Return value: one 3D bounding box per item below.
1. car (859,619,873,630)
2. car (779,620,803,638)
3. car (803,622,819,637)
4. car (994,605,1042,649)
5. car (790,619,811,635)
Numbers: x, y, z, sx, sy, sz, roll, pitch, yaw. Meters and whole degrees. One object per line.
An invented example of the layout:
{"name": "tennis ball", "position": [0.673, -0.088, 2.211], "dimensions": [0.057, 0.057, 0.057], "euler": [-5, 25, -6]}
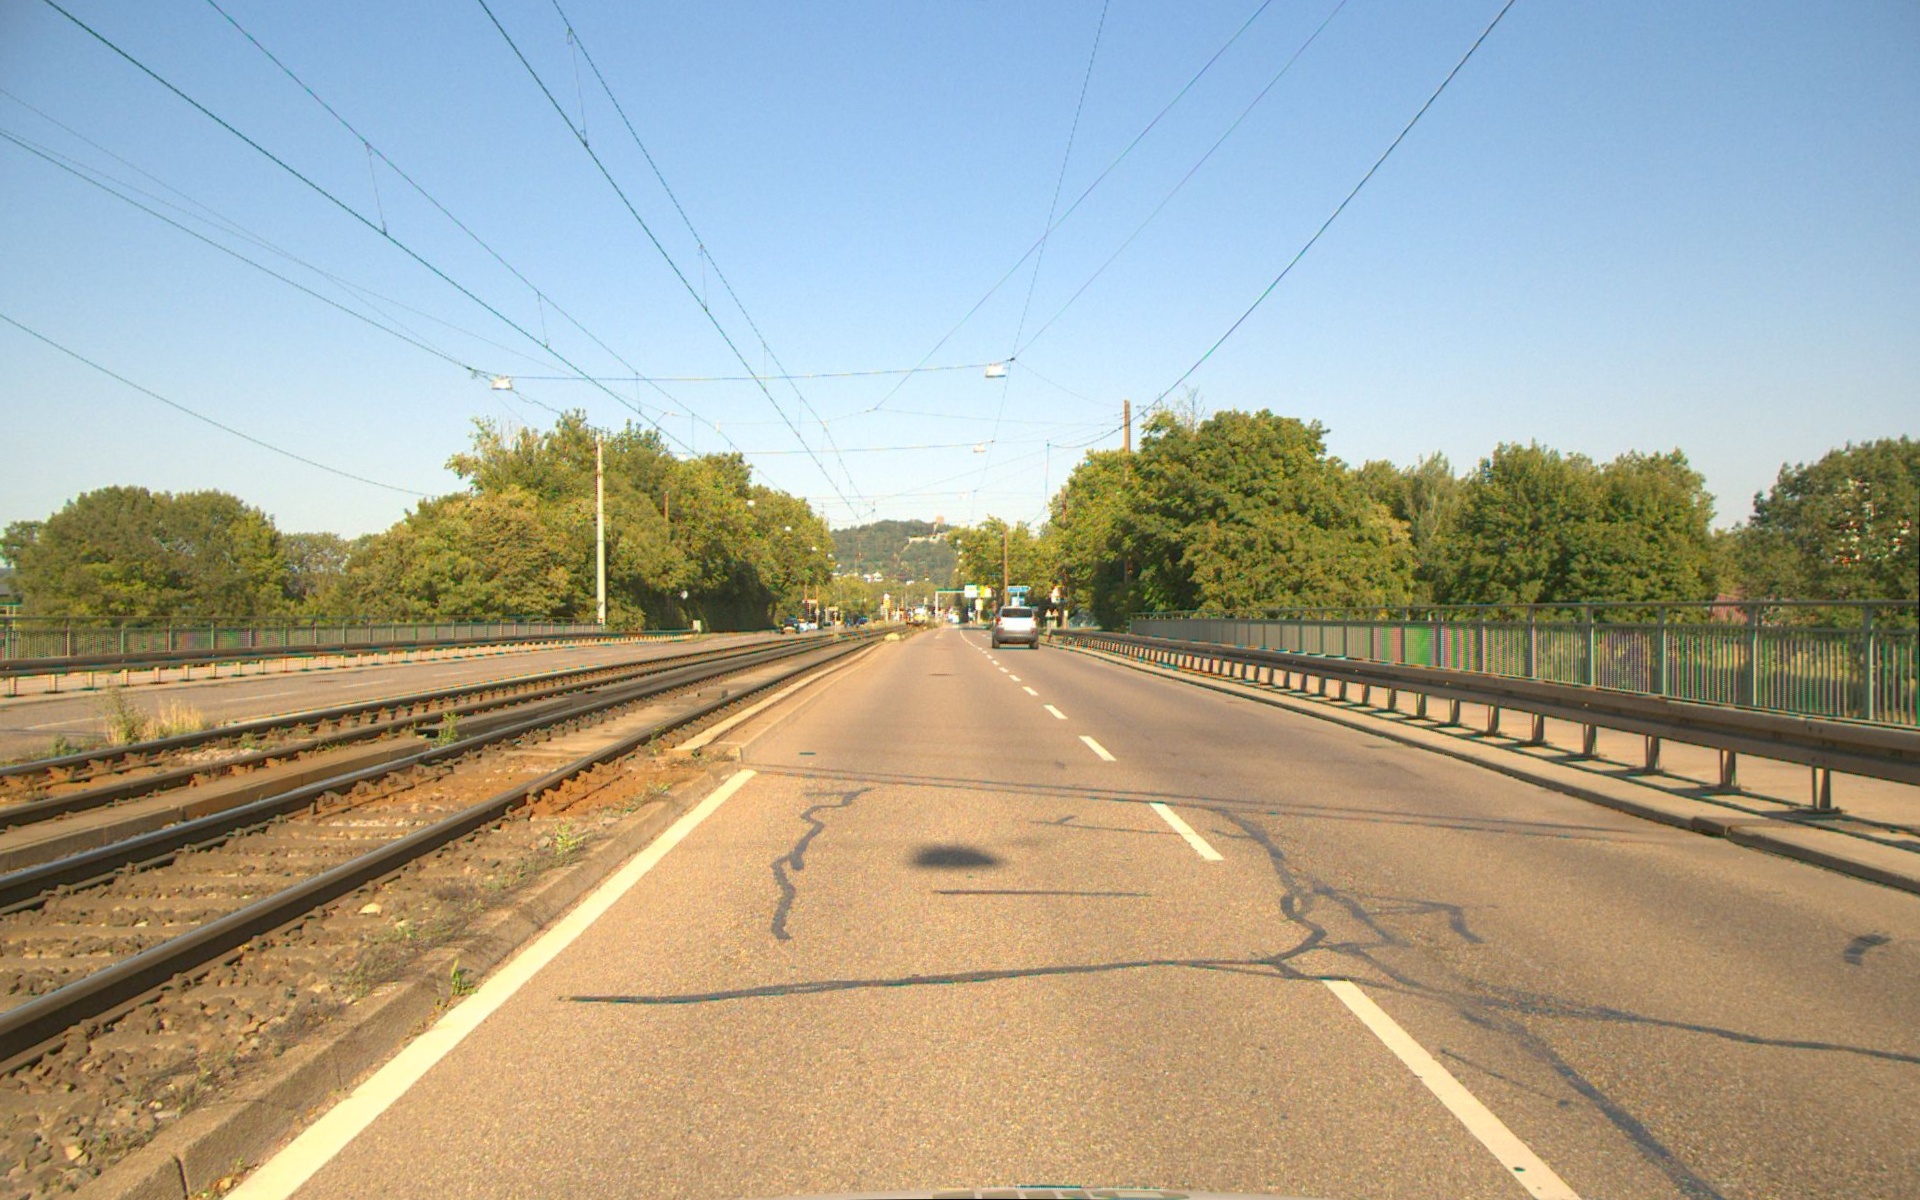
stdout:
{"name": "car", "position": [-14.094, 3.689, 248.825], "dimensions": [1.953, 1.646, 3.999], "euler": [2, -1, -1]}
{"name": "car", "position": [-16.575, 2.861, 162.058], "dimensions": [1.953, 1.646, 3.999], "euler": [2, -1, -1]}
{"name": "car", "position": [-21.542, 4.212, 239.157], "dimensions": [1.947, 2.093, 3.945], "euler": [2, -1, -1]}
{"name": "car", "position": [2.349, 1.091, 67.431], "dimensions": [1.849, 1.723, 4.257], "euler": [0, -1, 2]}
{"name": "car", "position": [-17.936, 3.029, 186.473], "dimensions": [1.953, 1.646, 3.999], "euler": [2, -1, -1]}
